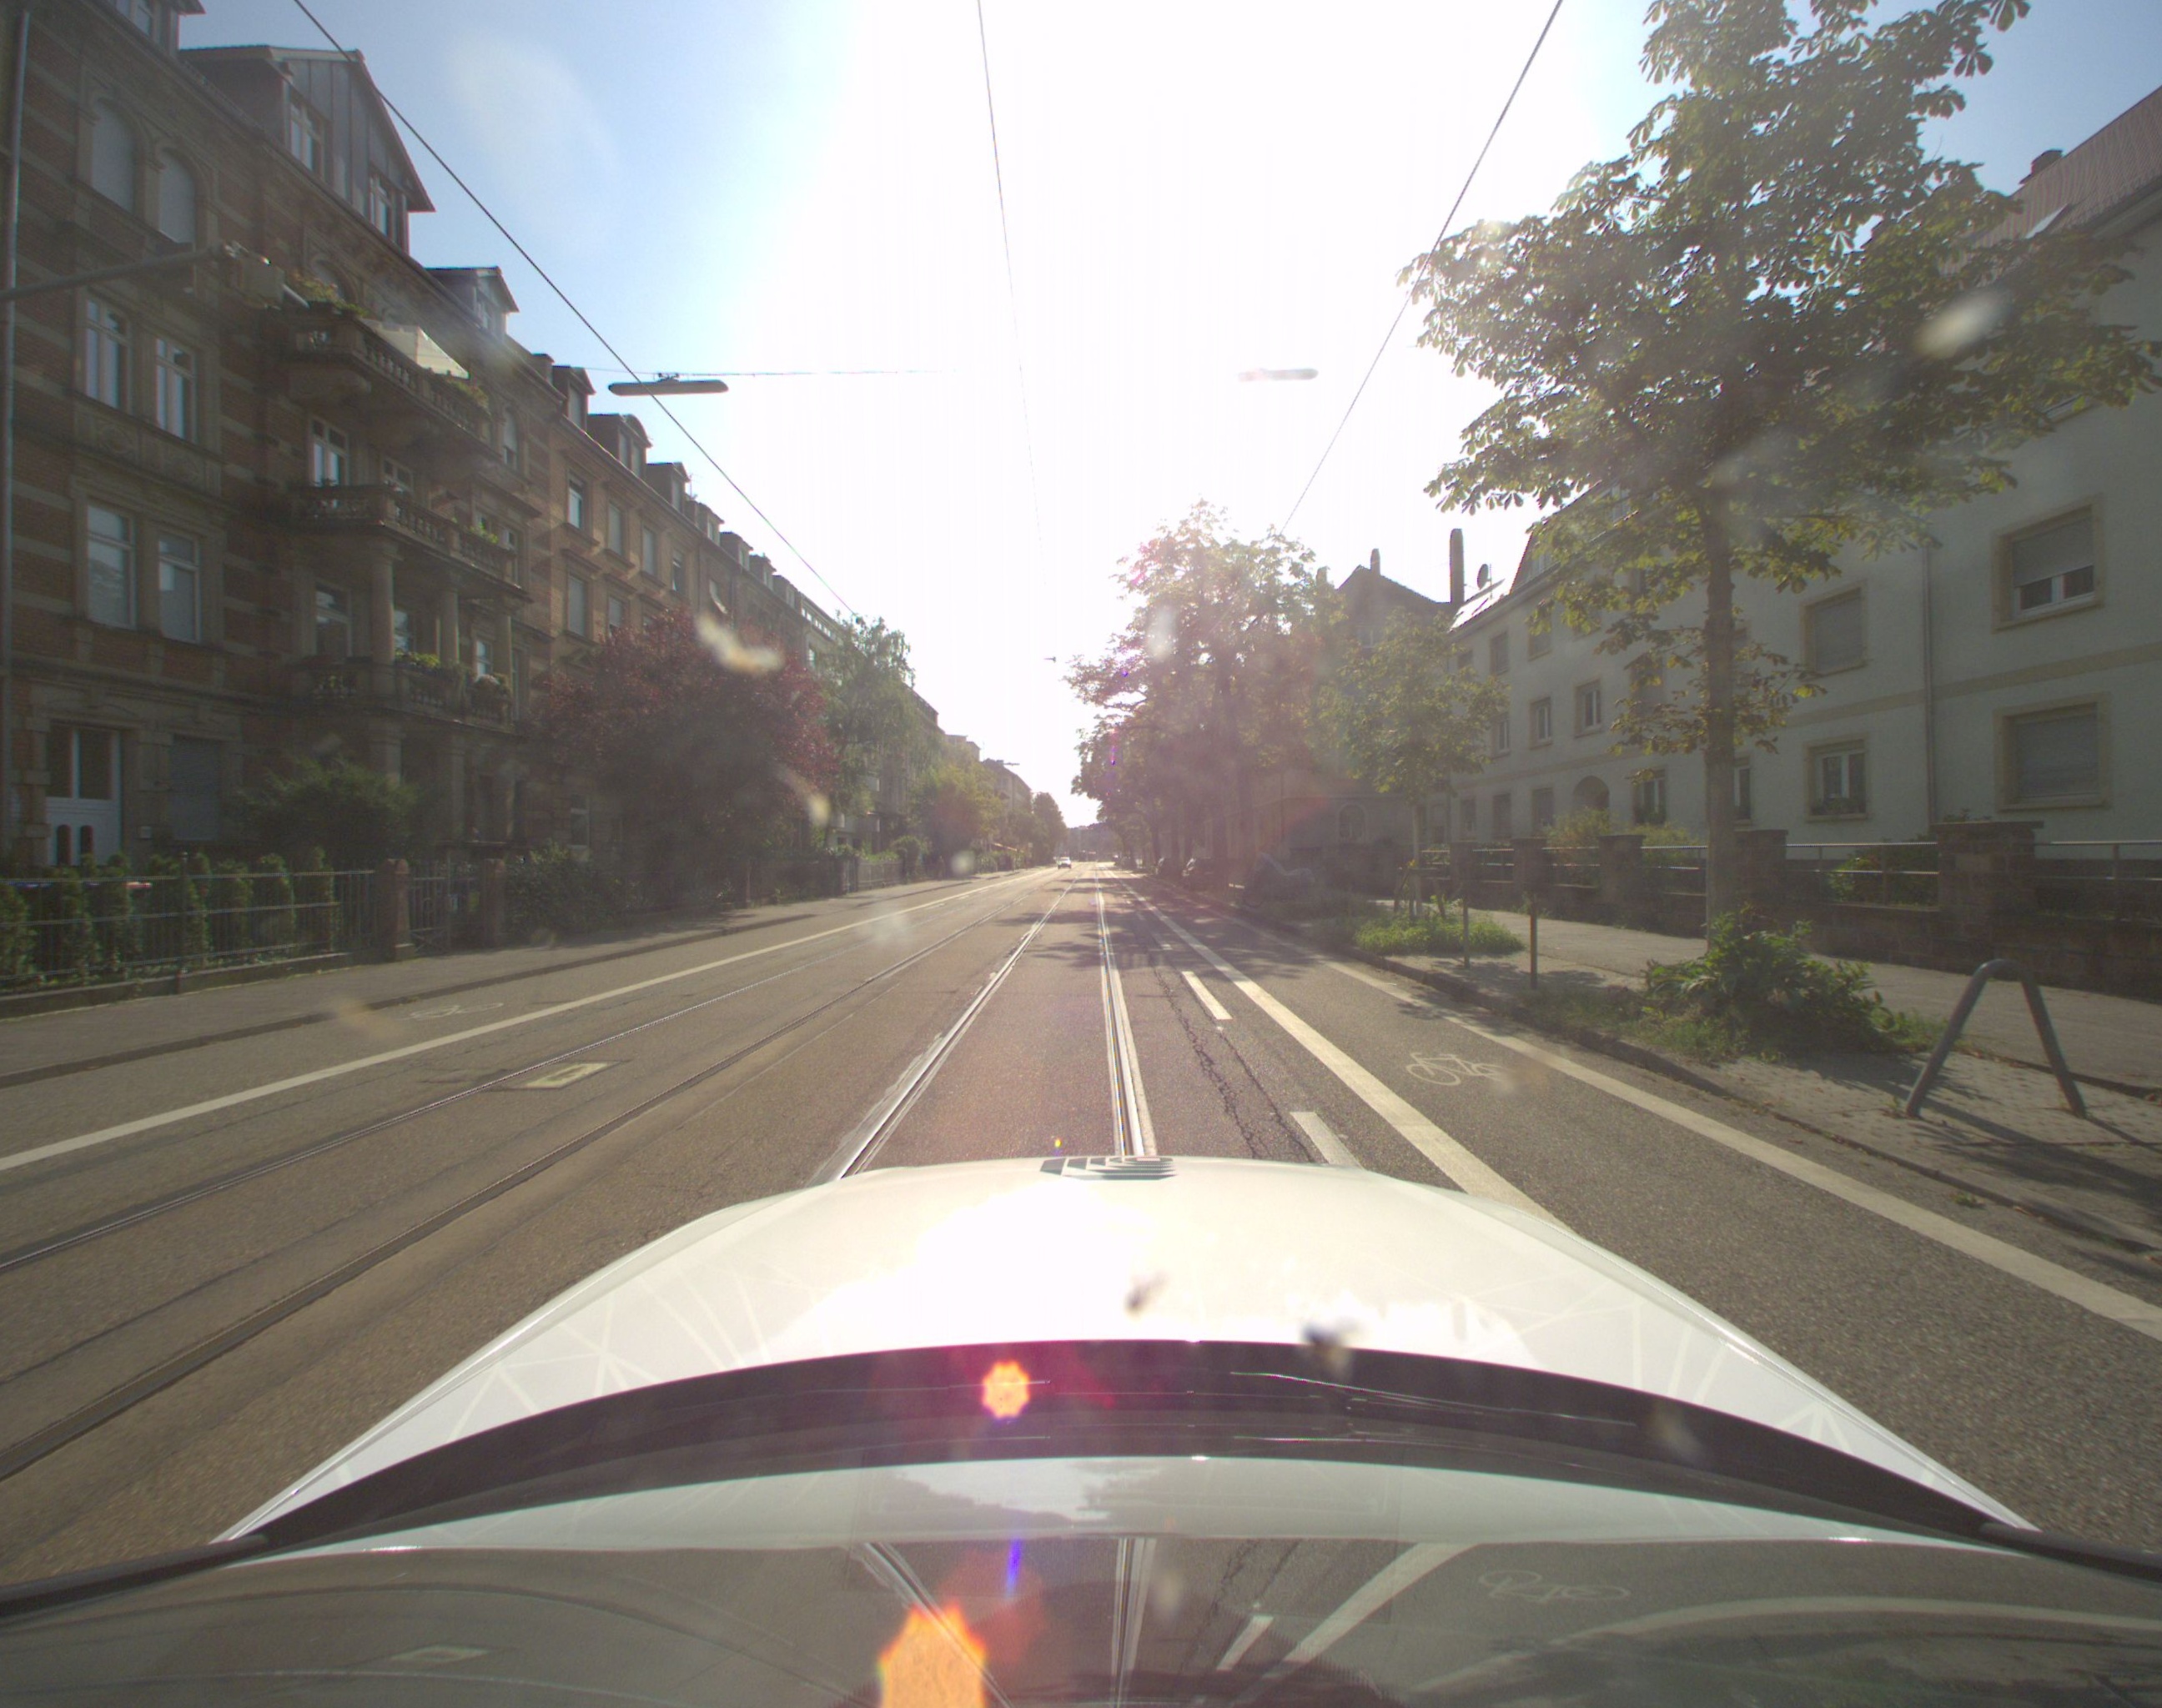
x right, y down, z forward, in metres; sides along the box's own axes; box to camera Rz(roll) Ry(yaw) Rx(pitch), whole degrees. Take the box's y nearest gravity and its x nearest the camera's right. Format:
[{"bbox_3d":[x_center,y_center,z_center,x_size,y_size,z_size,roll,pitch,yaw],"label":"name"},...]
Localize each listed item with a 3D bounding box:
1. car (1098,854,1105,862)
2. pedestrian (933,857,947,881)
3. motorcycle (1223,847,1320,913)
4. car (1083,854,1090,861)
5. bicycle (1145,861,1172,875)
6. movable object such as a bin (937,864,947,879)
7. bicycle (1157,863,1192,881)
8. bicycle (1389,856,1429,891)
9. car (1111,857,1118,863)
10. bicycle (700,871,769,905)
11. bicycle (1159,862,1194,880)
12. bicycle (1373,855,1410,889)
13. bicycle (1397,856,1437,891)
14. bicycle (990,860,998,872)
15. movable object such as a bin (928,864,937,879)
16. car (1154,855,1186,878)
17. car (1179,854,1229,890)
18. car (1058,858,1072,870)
[{"bbox_3d":[5.850,1.122,231.233,1.985,2.014,4.004,1,0,4],"label":"car"},{"bbox_3d":[-9.445,0.969,54.457,0.749,1.591,0.878,-1,-1,1],"label":"pedestrian"},{"bbox_3d":[5.193,0.713,22.320,0.919,1.674,2.390,-3,0,-45],"label":"motorcycle"},{"bbox_3d":[1.689,1.130,249.692,1.985,2.014,4.004,1,0,3],"label":"car"},{"bbox_3d":[6.241,1.127,65.650,2.100,1.105,0.616,-2,0,-1],"label":"bicycle"},{"bbox_3d":[-10.198,1.262,59.633,0.630,1.078,0.703,-1,0,-6],"label":"movable object such as a bin"},{"bbox_3d":[5.922,1.122,51.515,2.104,1.105,0.561,-1,-1,-7],"label":"bicycle"},{"bbox_3d":[10.651,0.616,26.517,0.423,1.104,1.999,-1,0,-2],"label":"bicycle"},{"bbox_3d":[9.845,1.726,238.969,1.984,1.783,4.006,1,0,5],"label":"car"},{"bbox_3d":[-11.572,1.132,27.224,2.011,1.104,0.588,-1,-1,-3],"label":"bicycle"},{"bbox_3d":[5.969,1.053,50.991,2.104,1.105,0.561,-1,-1,-7],"label":"bicycle"},{"bbox_3d":[10.844,0.608,28.474,0.536,1.104,1.872,-1,0,-2],"label":"bicycle"},{"bbox_3d":[10.905,0.608,26.489,0.423,1.104,1.999,-1,0,-2],"label":"bicycle"},{"bbox_3d":[-9.201,1.226,86.297,0.559,1.221,2.115,-1,0,3],"label":"bicycle"},{"bbox_3d":[-10.867,1.253,59.563,0.589,1.078,0.703,-1,0,-6],"label":"movable object such as a bin"},{"bbox_3d":[5.970,0.872,55.174,1.765,1.473,3.974,-1,-1,1],"label":"car"},{"bbox_3d":[5.693,0.823,38.149,1.721,1.504,3.985,-2,-1,1],"label":"car"},{"bbox_3d":[-2.223,1.346,112.773,1.721,1.638,3.985,-1,0,1],"label":"car"}]
